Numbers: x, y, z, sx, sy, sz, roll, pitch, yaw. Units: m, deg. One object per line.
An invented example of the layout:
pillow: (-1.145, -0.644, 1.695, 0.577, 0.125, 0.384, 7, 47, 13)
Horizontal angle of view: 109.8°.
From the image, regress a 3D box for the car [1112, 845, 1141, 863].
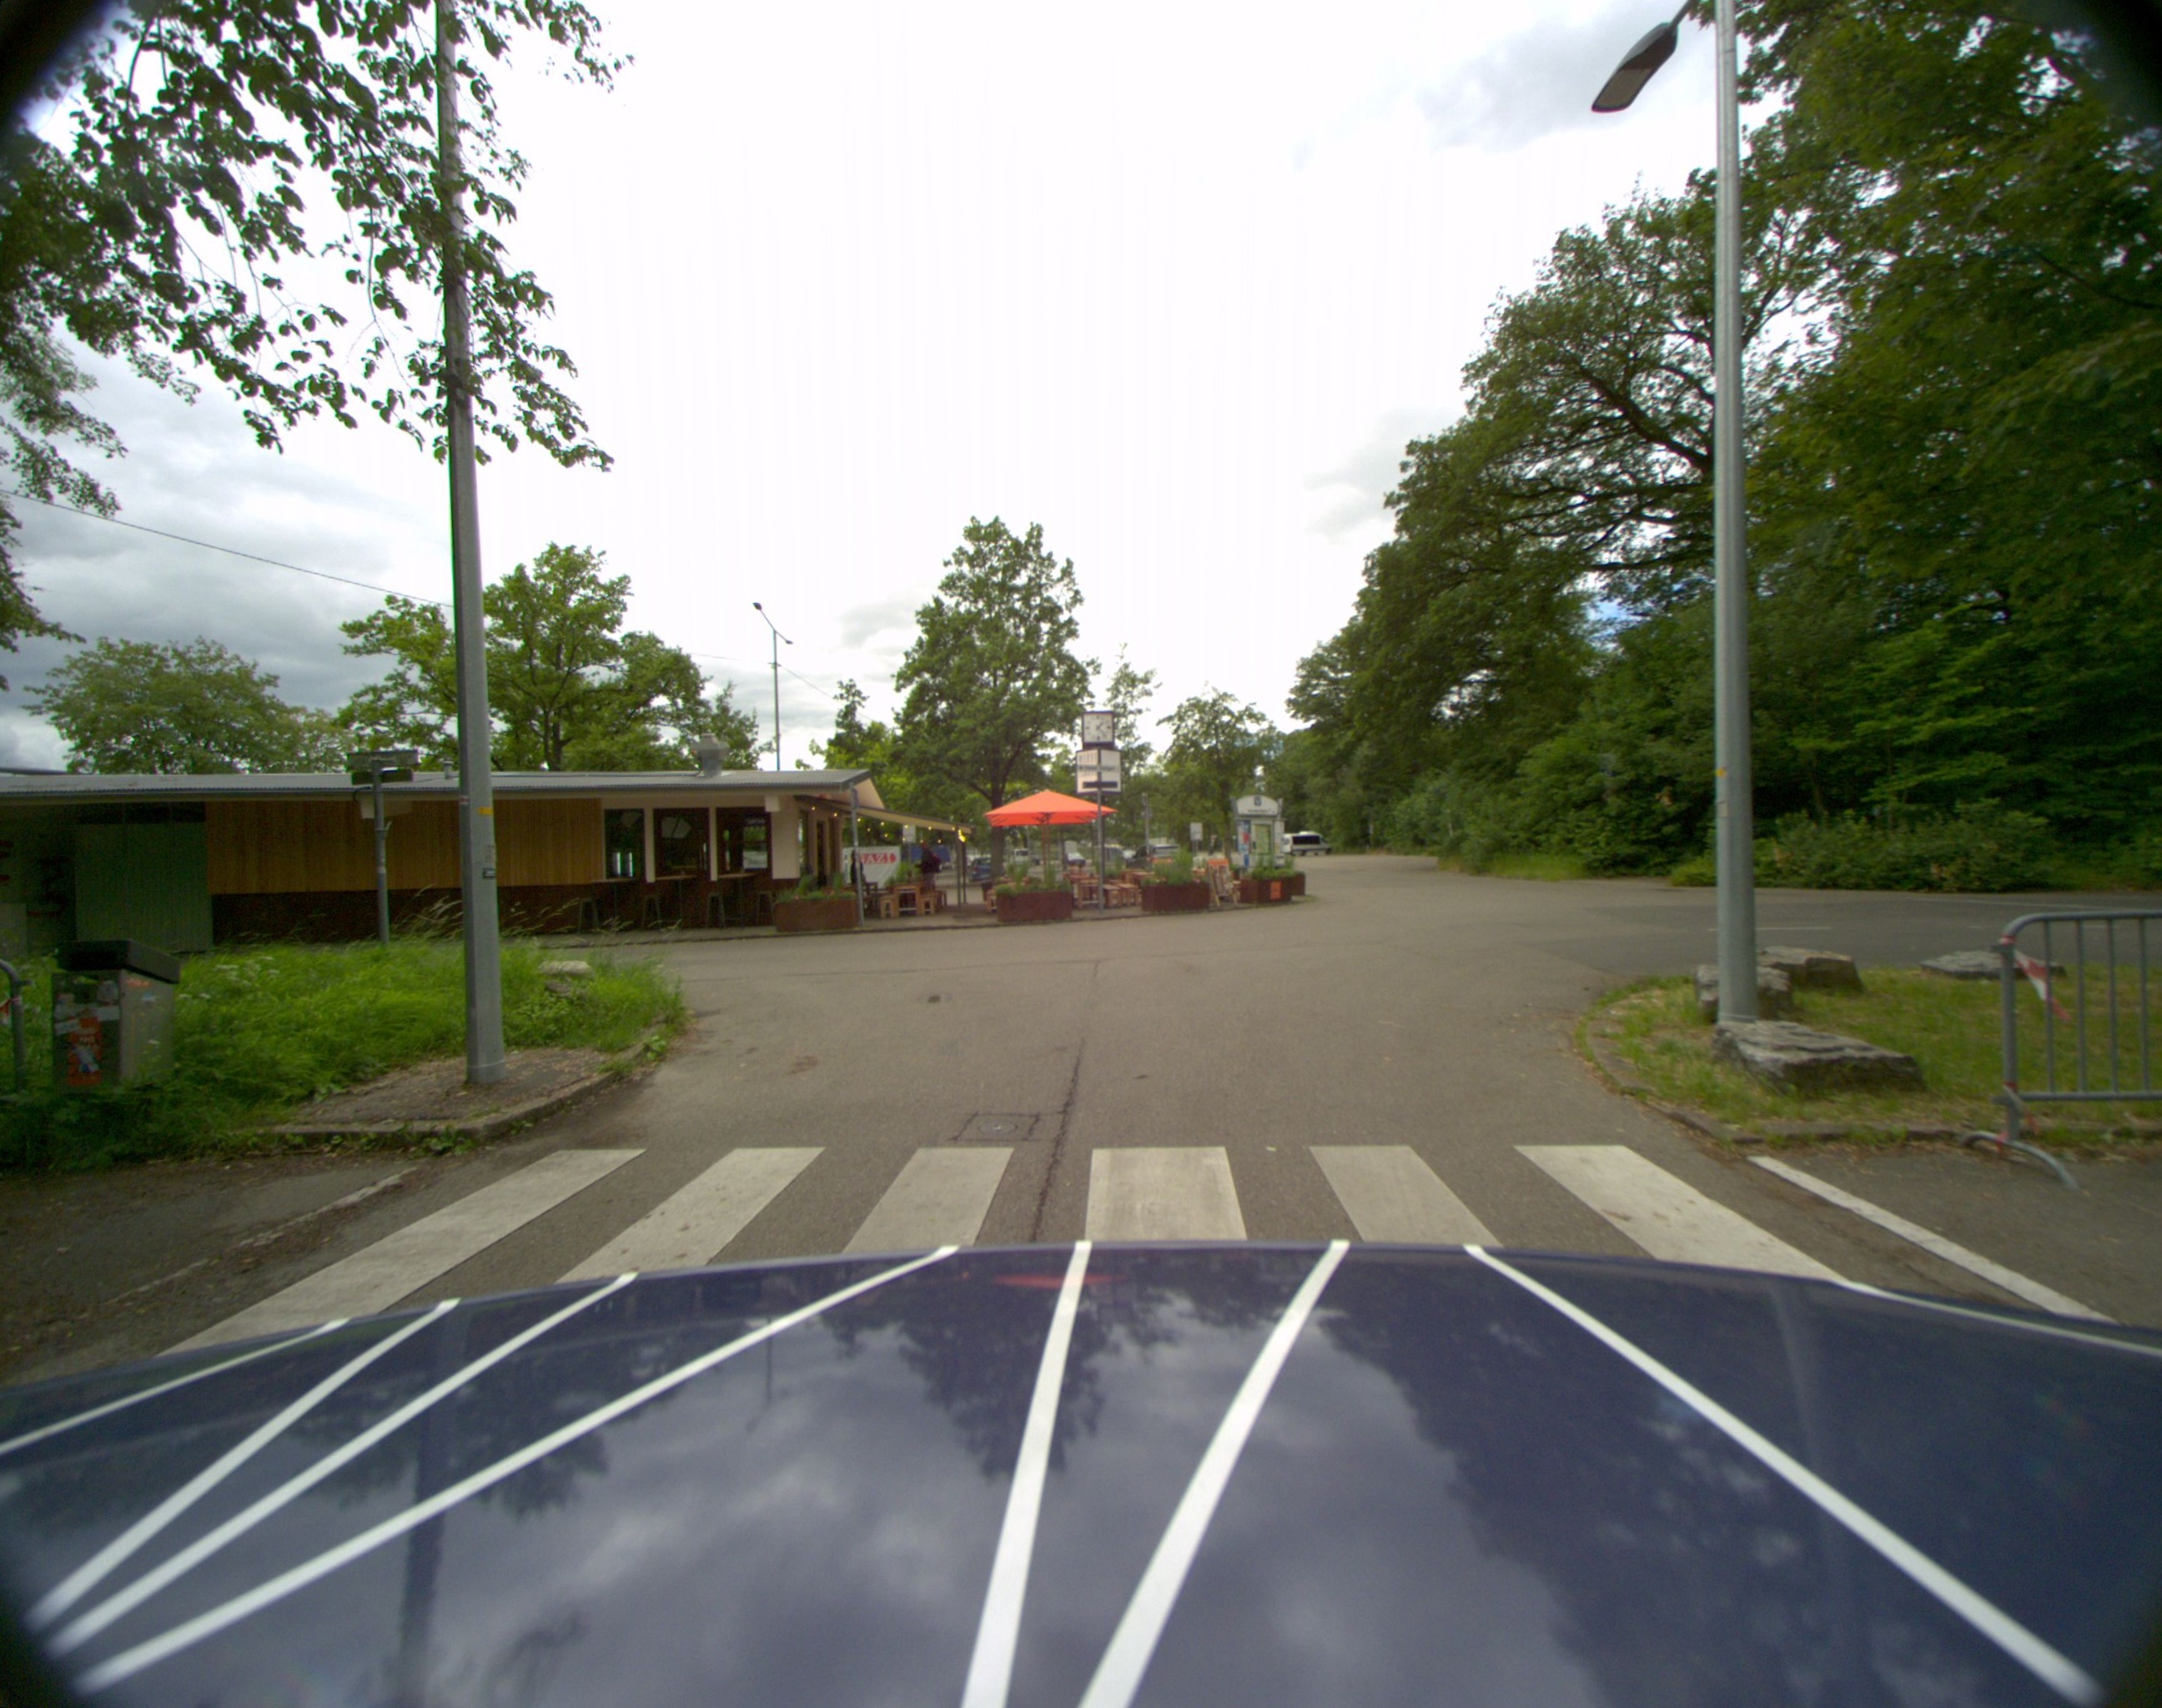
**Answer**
car: (4.748, -0.010, 80.005, 1.878, 1.769, 4.291, -2, 0, -12)

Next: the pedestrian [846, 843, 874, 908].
pedestrian: (-5.730, 0.553, 19.719, 0.531, 1.657, 0.595, -2, 1, -4)

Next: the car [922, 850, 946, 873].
car: (-13.787, 0.661, 71.142, 2.000, 2.002, 3.996, -2, 1, -12)

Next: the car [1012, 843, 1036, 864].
car: (-5.897, -0.097, 78.301, 1.878, 2.027, 4.585, -2, 0, -12)

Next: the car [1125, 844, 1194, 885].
car: (3.479, 0.421, 34.417, 1.936, 1.660, 4.341, -2, 1, -10)

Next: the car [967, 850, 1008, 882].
car: (-5.007, 0.608, 40.488, 2.000, 1.543, 3.997, -2, 1, -8)

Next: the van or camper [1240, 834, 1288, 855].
van or camper: (27.704, -1.425, 114.776, 7.350, 2.833, 2.199, -3, 1, -29)

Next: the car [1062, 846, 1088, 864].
car: (-0.669, 0.091, 78.534, 1.878, 1.769, 4.291, -2, 0, -12)

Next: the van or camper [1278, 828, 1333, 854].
van or camper: (26.937, -1.584, 90.885, 7.352, 2.833, 2.063, -3, 1, -35)

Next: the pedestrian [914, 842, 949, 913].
pedestrian: (-3.949, 0.599, 20.102, 0.749, 1.820, 0.710, -2, 1, -3)
